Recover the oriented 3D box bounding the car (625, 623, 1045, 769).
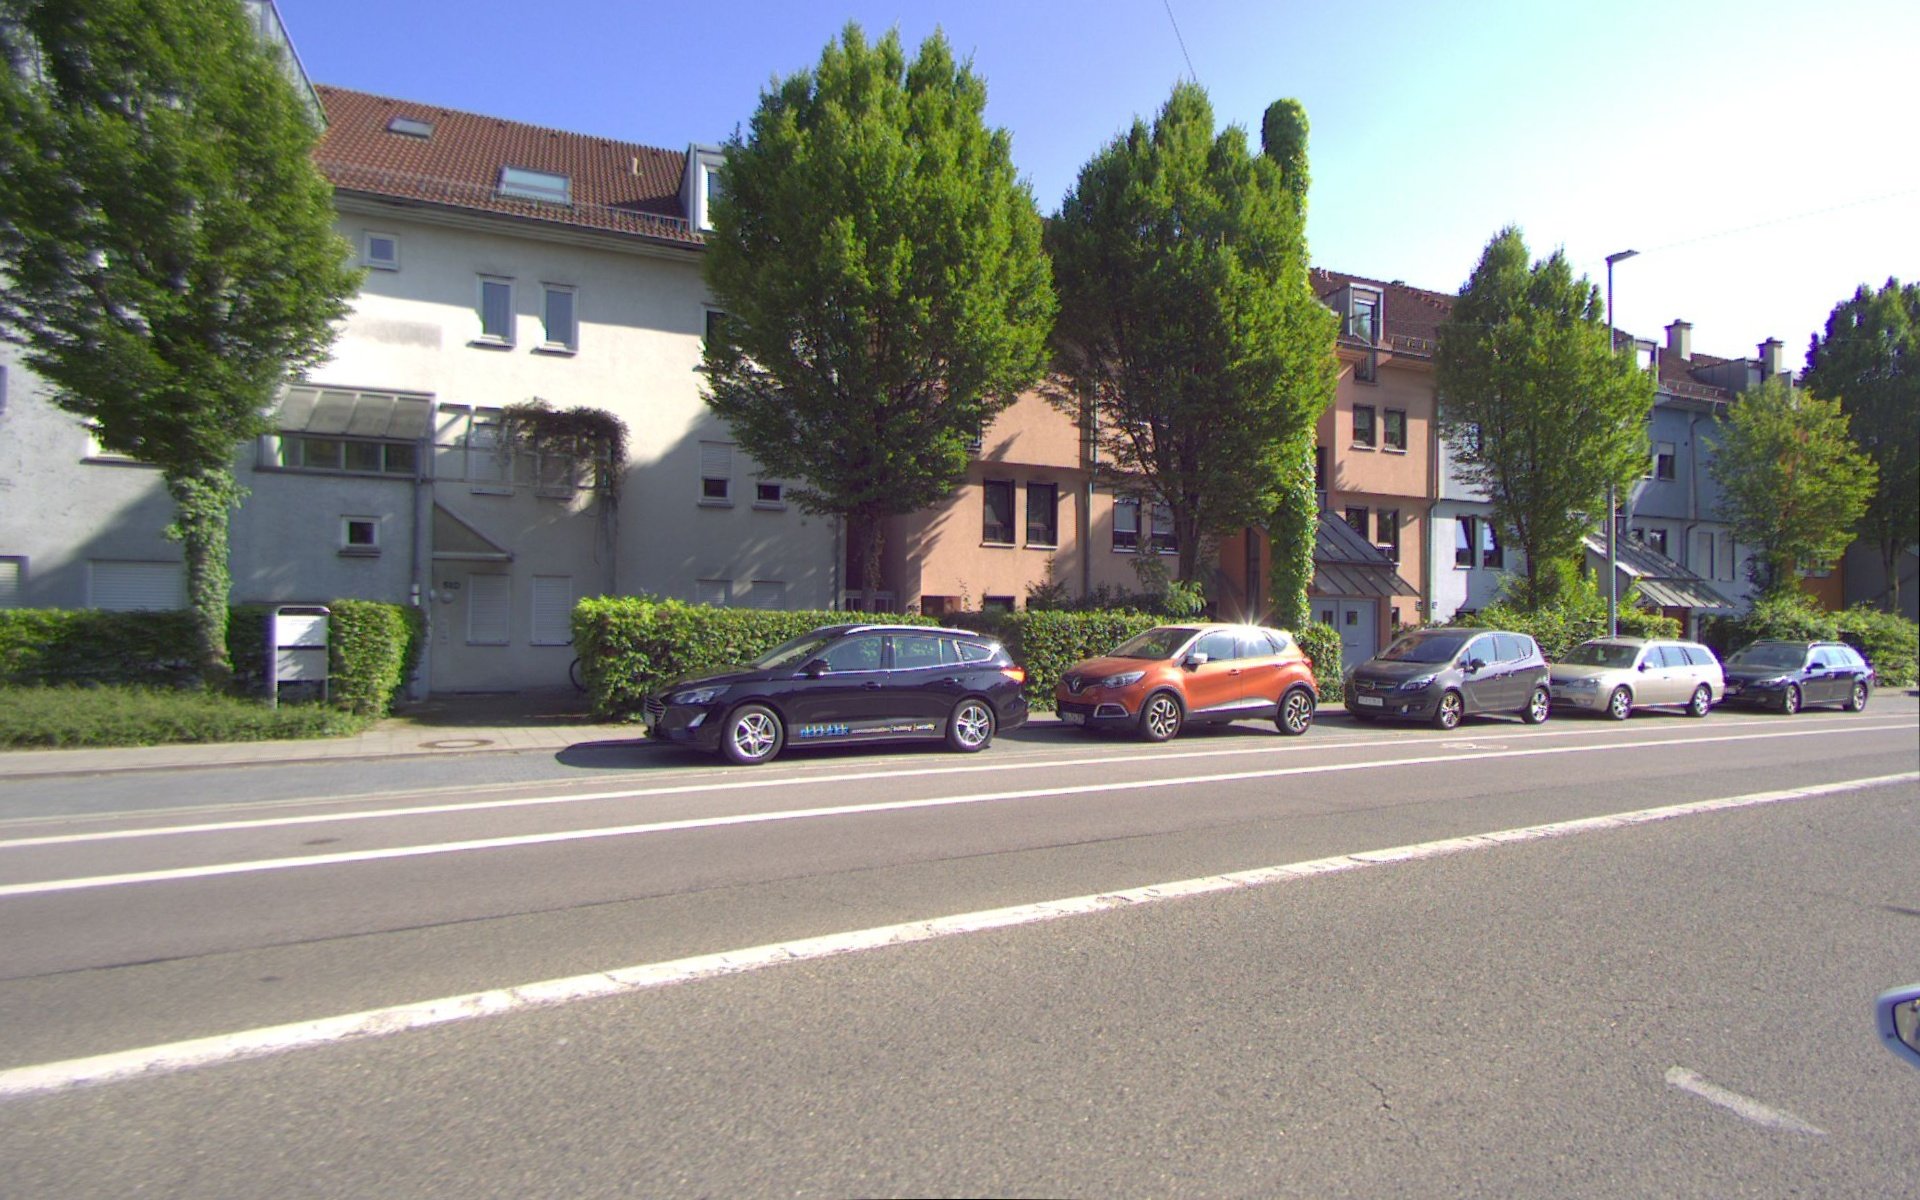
[{"bbox_3d":[-1.376,1.017,11.833,4.657,1.443,1.644,1,-2,-30],"label":"car"}]

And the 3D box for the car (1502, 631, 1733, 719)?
[{"bbox_3d":[13.030,1.459,19.835,4.784,1.491,1.705,3,0,-28],"label":"car"}]

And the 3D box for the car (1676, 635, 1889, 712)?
[{"bbox_3d":[18.287,1.593,22.292,4.843,1.491,1.704,2,1,-25],"label":"car"}]

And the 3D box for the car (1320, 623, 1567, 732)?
[{"bbox_3d":[8.318,1.260,17.206,4.250,1.595,1.753,2,1,-31],"label":"car"}]

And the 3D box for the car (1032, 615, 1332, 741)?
[{"bbox_3d":[3.253,1.080,14.533,4.112,1.594,1.755,2,-2,-29],"label":"car"}]

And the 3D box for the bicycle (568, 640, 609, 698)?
[{"bbox_3d":[-6.860,1.249,18.528,0.633,0.990,1.679,1,-1,-22],"label":"bicycle"}]
